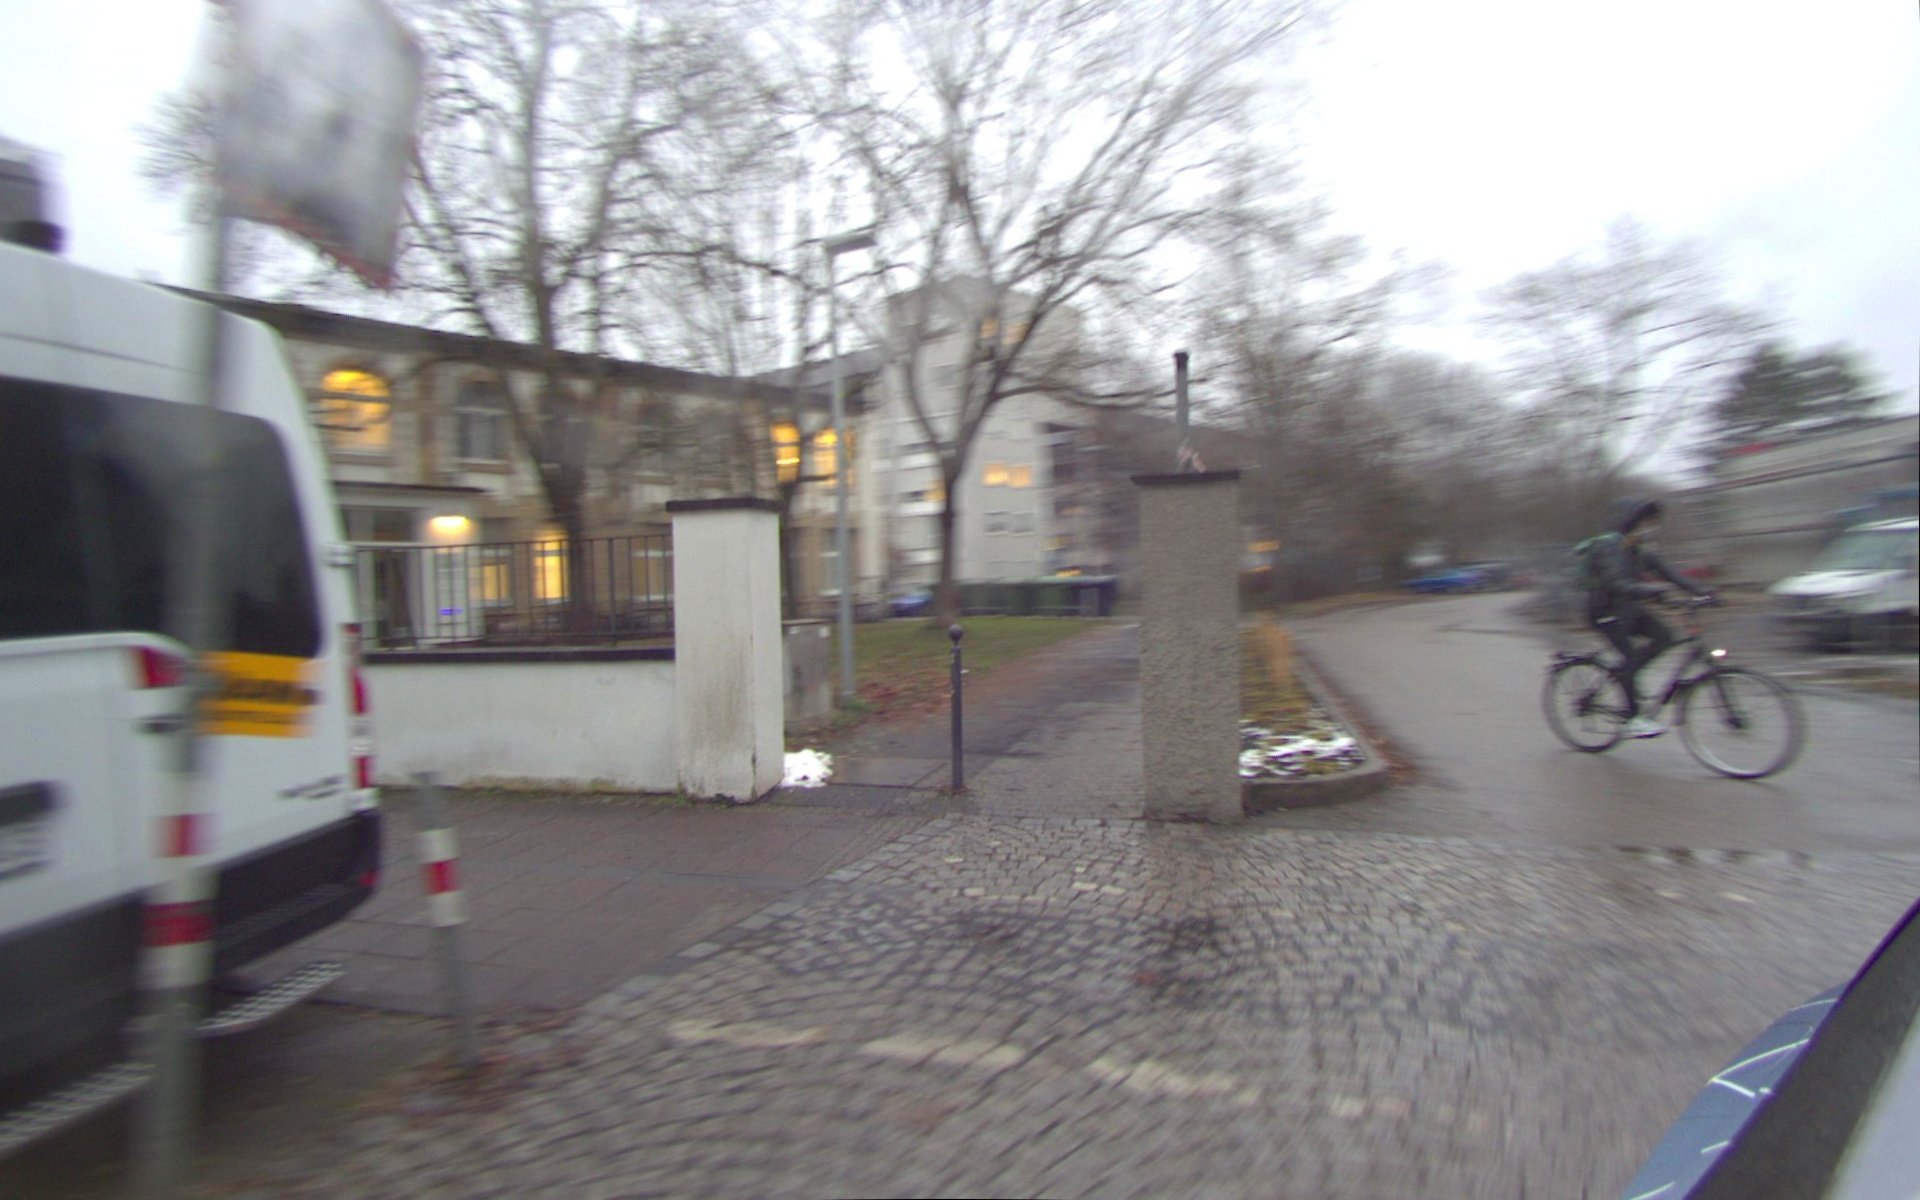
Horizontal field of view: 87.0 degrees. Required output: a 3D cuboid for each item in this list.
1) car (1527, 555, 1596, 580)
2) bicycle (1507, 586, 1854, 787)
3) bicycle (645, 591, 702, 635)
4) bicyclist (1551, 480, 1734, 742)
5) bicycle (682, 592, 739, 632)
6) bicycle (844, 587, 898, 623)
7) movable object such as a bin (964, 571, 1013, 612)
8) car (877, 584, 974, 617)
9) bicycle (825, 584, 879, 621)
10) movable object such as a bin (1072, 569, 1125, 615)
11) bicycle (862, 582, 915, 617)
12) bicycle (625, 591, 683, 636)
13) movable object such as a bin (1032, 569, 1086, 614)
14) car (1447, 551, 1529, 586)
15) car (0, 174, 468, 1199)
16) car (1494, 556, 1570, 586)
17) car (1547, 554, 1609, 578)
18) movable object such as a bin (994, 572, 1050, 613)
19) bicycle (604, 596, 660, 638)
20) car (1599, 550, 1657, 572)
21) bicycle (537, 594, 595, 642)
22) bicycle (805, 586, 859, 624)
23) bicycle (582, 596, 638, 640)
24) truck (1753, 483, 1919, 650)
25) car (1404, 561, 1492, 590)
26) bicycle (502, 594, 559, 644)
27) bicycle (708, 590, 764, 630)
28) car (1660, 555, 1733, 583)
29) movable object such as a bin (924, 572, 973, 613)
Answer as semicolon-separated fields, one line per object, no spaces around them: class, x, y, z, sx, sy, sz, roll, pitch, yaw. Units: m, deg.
car;44.256;-2.376;74.455;1.968;1.682;3.989;-3;2;-44
bicycle;4.801;0.494;6.938;0.715;1.147;1.898;-2;1;-15
bicycle;-8.035;0.352;28.347;0.564;1.171;2.136;-2;2;-44
bicyclist;4.740;0.055;7.063;0.692;1.710;0.773;-2;1;-14
bicycle;-7.238;0.337;29.278;0.564;1.105;2.136;-2;2;-44
bicycle;-3.010;0.159;34.142;0.564;1.171;2.136;-2;2;-44
movable object such as a bin;0.924;-0.271;32.955;1.245;1.295;0.974;0;2;39
car;-1.510;-0.020;45.225;3.932;1.296;1.996;-3;2;-42
bicycle;-3.580;0.080;33.338;0.564;1.171;2.136;-2;2;-44
movable object such as a bin;4.136;-0.258;30.125;1.310;1.333;1.054;1;2;26
bicycle;-2.471;-0.025;34.965;0.564;1.171;2.136;-2;2;-44
bicycle;-8.452;0.358;27.901;0.564;1.171;2.136;-2;2;-44
movable object such as a bin;3.033;-0.273;31.020;1.301;1.330;0.974;0;2;39
car;31.905;-1.894;61.161;1.968;2.016;3.989;-3;2;-44
car;-4.773;0.273;3.439;5.355;2.517;2.124;-1;3;13
car;37.454;-1.901;66.316;1.773;1.818;3.989;-3;2;-44
car;50.220;-2.759;82.249;1.773;1.818;3.989;-3;2;-44
movable object such as a bin;1.951;-0.242;31.864;1.431;1.240;0.974;0;2;39
bicycle;-8.906;0.444;27.444;0.564;1.029;2.136;-2;4;-44
car;58.875;-3.397;89.213;1.773;1.818;3.989;-3;2;-44
bicycle;-10.097;0.449;25.909;0.564;1.171;2.136;-2;2;-44
bicycle;-4.148;0.146;32.671;0.564;1.171;2.136;-2;2;-44
bicycle;-9.342;0.462;26.972;0.564;1.063;2.136;-2;3;-44
truck;17.890;-0.711;16.980;6.962;2.620;2.128;-3;1;8
car;27.562;-1.354;57.226;4.164;1.497;1.969;0;-1;42
bicycle;-10.729;0.452;25.246;0.564;1.171;2.136;-2;2;-44
bicycle;-6.644;0.289;29.952;0.564;1.124;2.136;-2;2;-44
car;42.293;-1.787;58.134;3.295;1.542;1.679;0;2;41
movable object such as a bin;-0.385;-0.259;33.701;1.257;1.330;0.974;0;2;39
